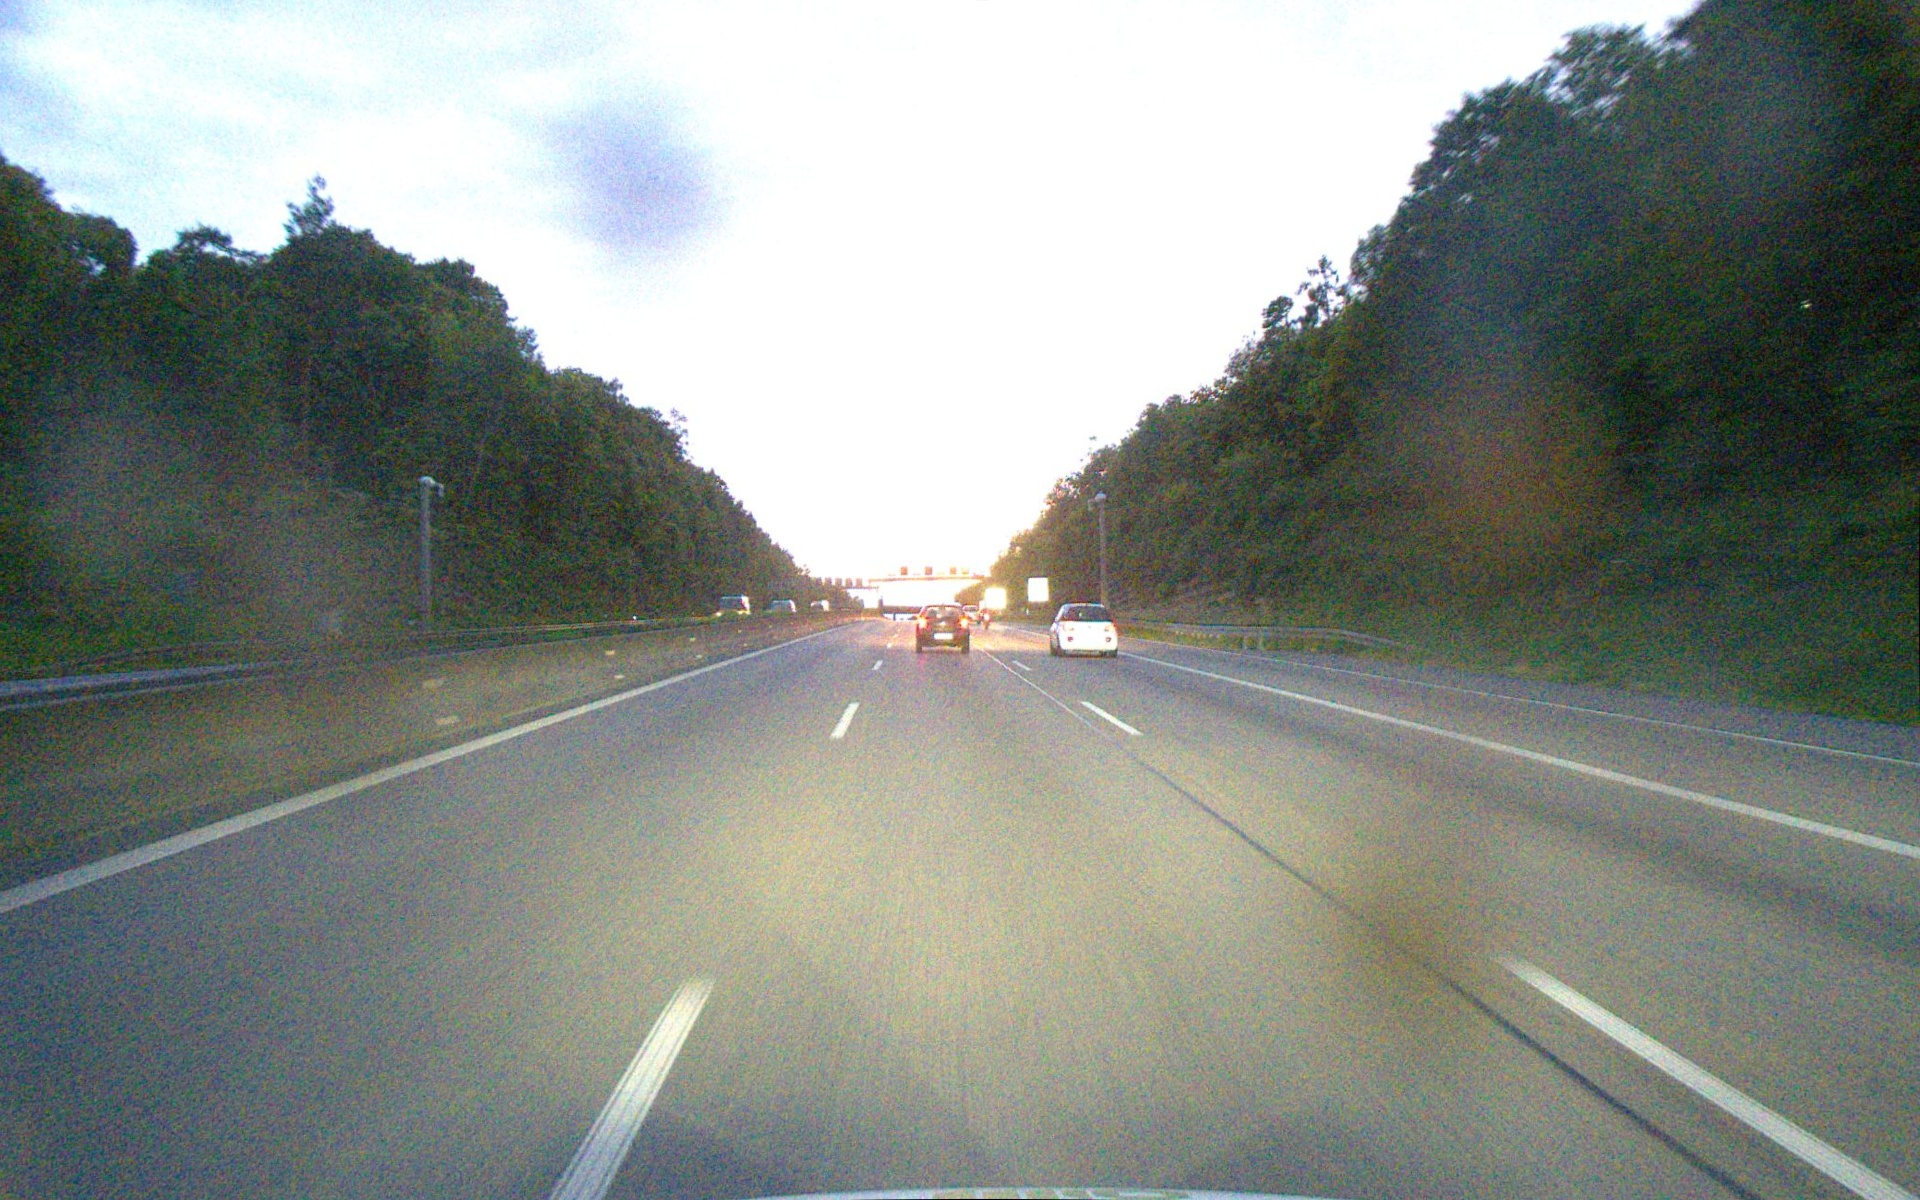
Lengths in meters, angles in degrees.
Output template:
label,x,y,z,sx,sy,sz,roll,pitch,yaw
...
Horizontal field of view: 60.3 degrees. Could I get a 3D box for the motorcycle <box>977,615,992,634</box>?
label,x,y,z,sx,sy,sz,roll,pitch,yaw
motorcycle,1.521,1.506,101.761,0.813,1.154,2.475,0,-1,-2

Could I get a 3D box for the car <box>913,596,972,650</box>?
label,x,y,z,sx,sy,sz,roll,pitch,yaw
car,-0.547,0.728,50.006,1.669,1.536,4.230,1,-2,-1

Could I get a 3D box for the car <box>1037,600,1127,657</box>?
label,x,y,z,sx,sy,sz,roll,pitch,yaw
car,3.418,0.823,47.100,1.790,1.502,4.392,2,-2,-6

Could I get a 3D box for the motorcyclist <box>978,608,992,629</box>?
label,x,y,z,sx,sy,sz,roll,pitch,yaw
motorcyclist,1.527,1.136,101.695,0.813,1.314,1.189,0,-1,-2

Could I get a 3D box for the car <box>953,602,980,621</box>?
label,x,y,z,sx,sy,sz,roll,pitch,yaw
car,0.549,0.999,140.553,1.829,1.520,4.392,2,-2,-6
